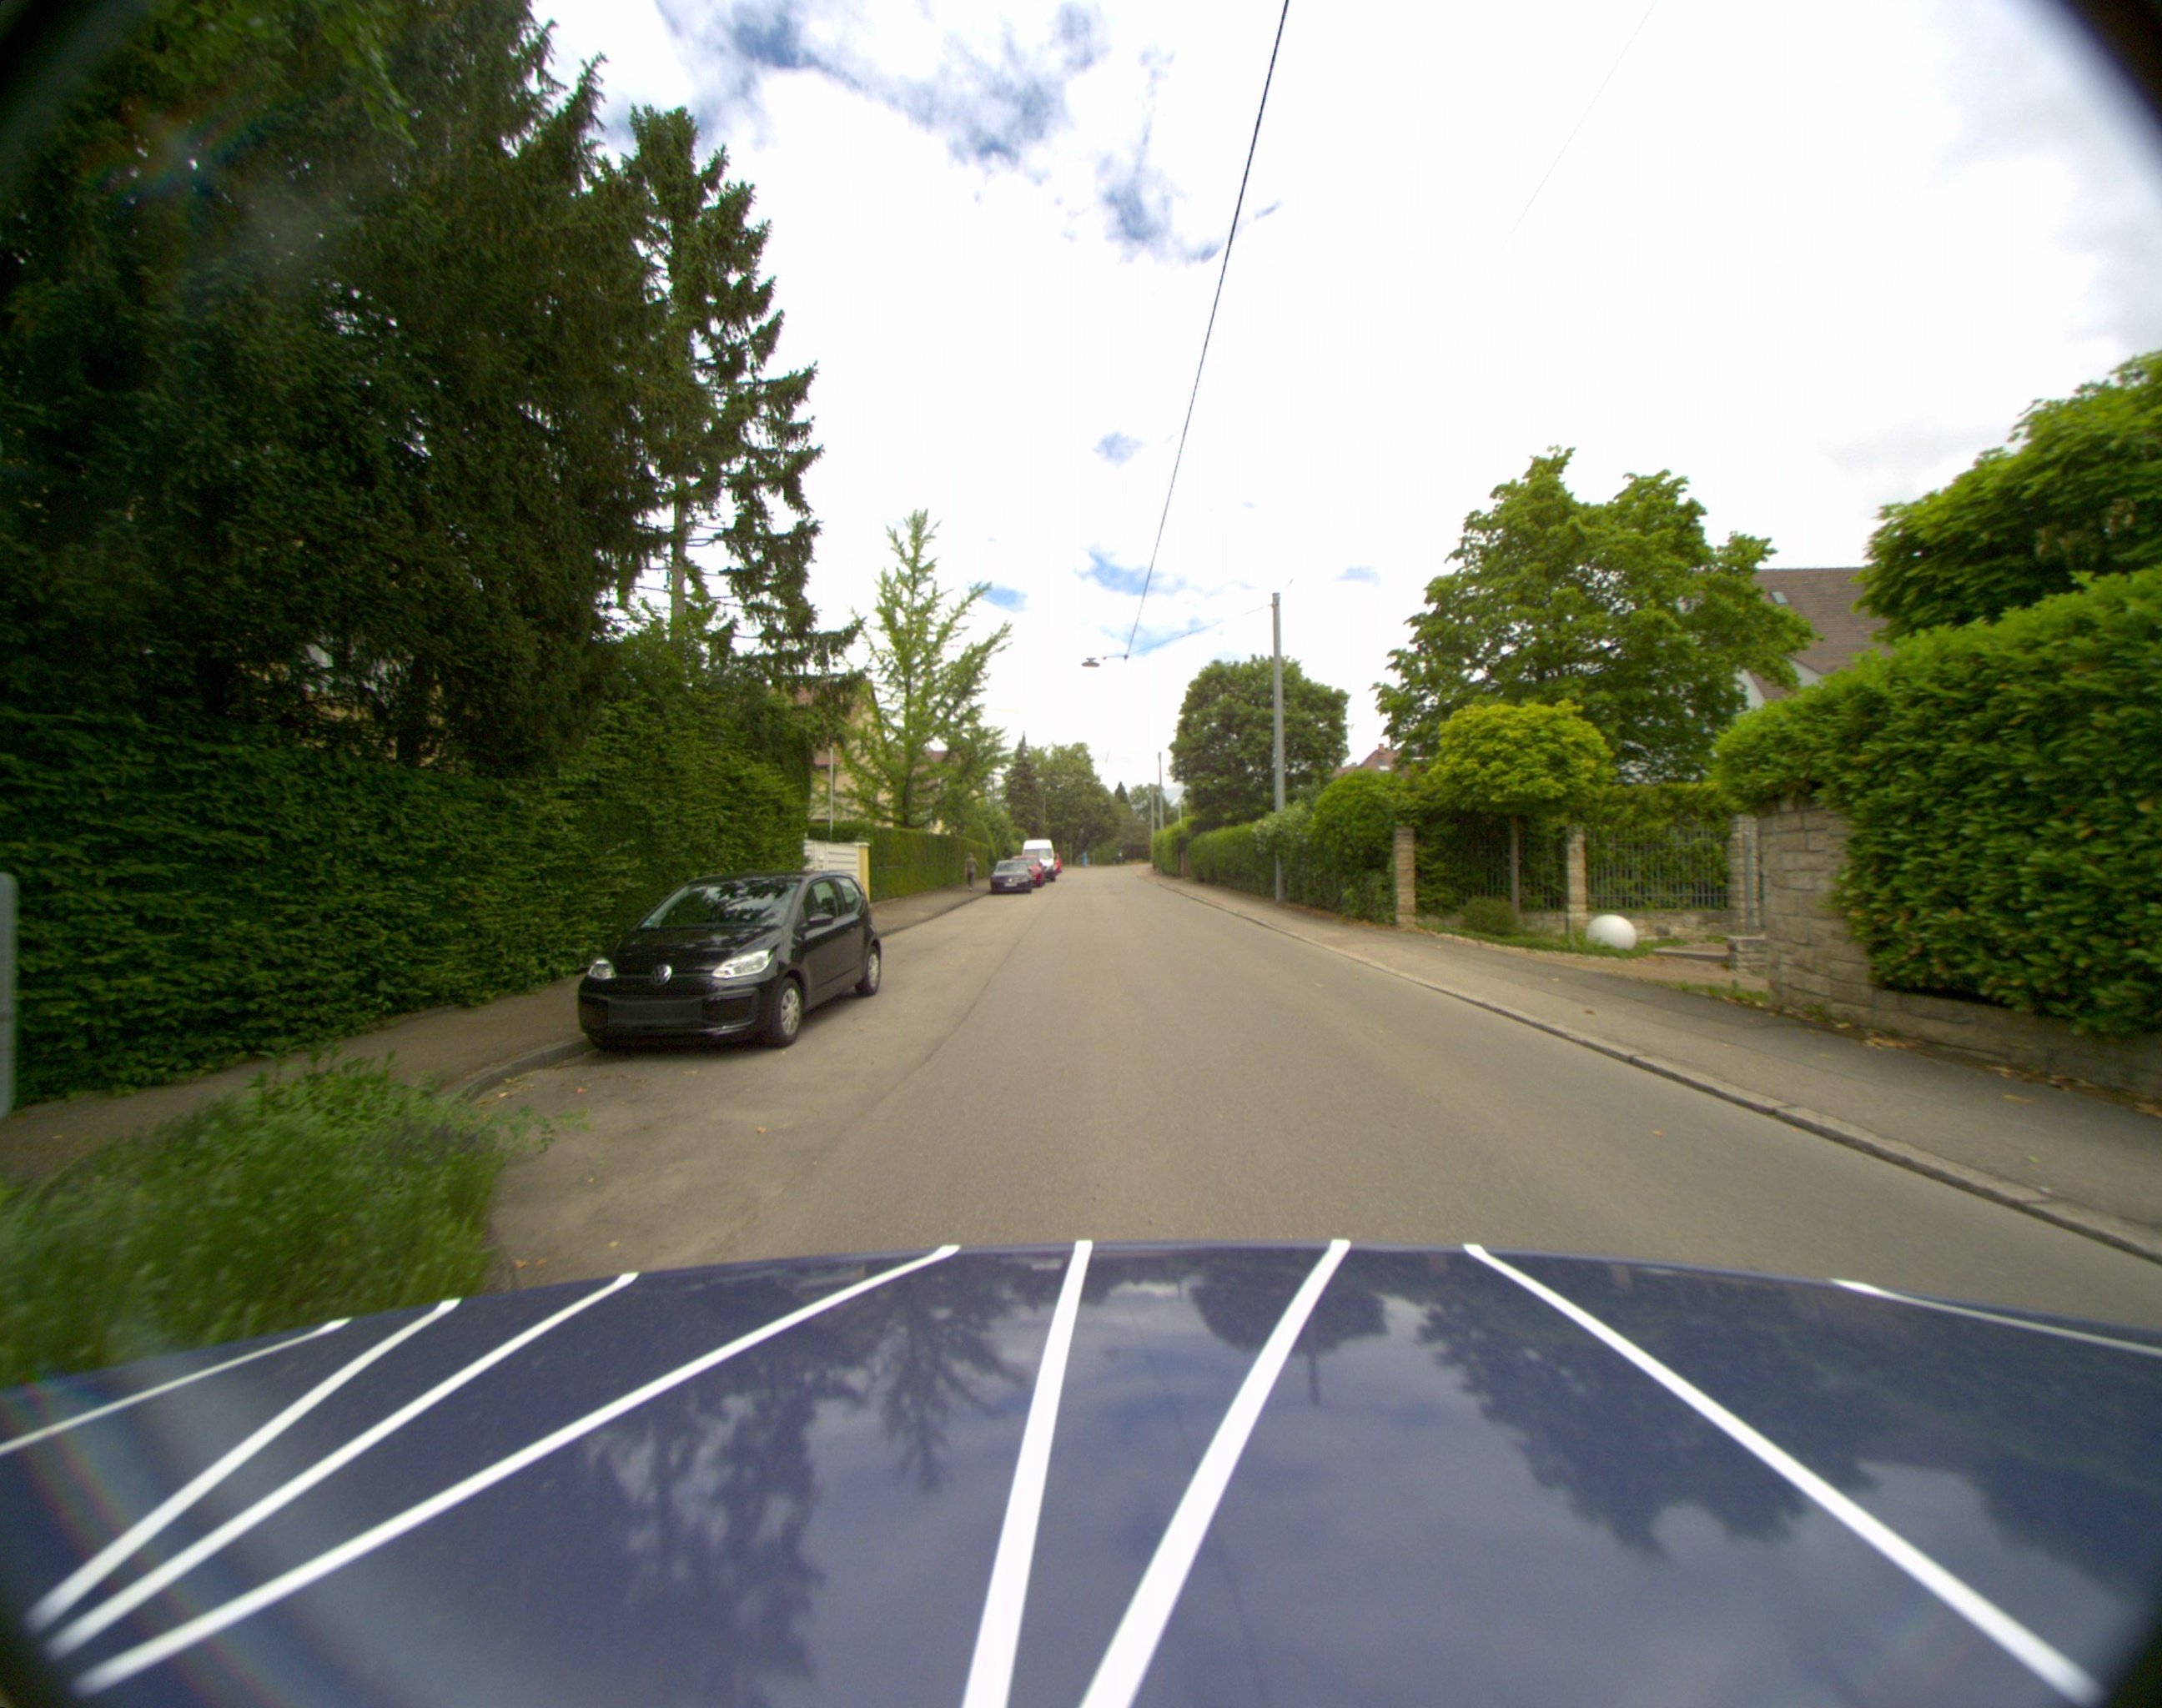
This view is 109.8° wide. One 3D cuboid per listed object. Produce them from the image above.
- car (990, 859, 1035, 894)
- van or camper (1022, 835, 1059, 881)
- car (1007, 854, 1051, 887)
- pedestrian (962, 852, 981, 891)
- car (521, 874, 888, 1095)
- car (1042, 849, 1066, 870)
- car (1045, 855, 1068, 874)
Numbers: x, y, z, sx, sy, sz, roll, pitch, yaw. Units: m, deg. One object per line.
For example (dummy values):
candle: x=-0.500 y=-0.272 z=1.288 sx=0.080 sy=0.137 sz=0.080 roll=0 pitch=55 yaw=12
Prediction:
car: x=-2.955 y=0.941 z=33.407 sx=1.683 sy=1.399 sz=4.053 roll=0 pitch=0 yaw=-1
van or camper: x=-2.465 y=0.230 z=48.118 sx=2.046 sy=2.605 sz=7.037 roll=-2 pitch=0 yaw=-2
car: x=-2.666 y=0.796 z=39.725 sx=1.893 sy=1.572 sz=4.765 roll=0 pitch=0 yaw=1
pedestrian: x=-4.734 y=0.738 z=32.933 sx=0.671 sy=1.688 sz=0.918 roll=0 pitch=1 yaw=2
car: x=-3.205 y=0.996 z=7.385 sx=1.627 sy=1.464 sz=3.740 roll=-2 pitch=0 yaw=1
car: x=-2.404 y=0.476 z=68.322 sx=1.771 sy=1.755 sz=4.162 roll=-2 pitch=0 yaw=3
car: x=-1.990 y=0.834 z=62.335 sx=1.704 sy=1.421 sz=4.394 roll=-2 pitch=0 yaw=-1
